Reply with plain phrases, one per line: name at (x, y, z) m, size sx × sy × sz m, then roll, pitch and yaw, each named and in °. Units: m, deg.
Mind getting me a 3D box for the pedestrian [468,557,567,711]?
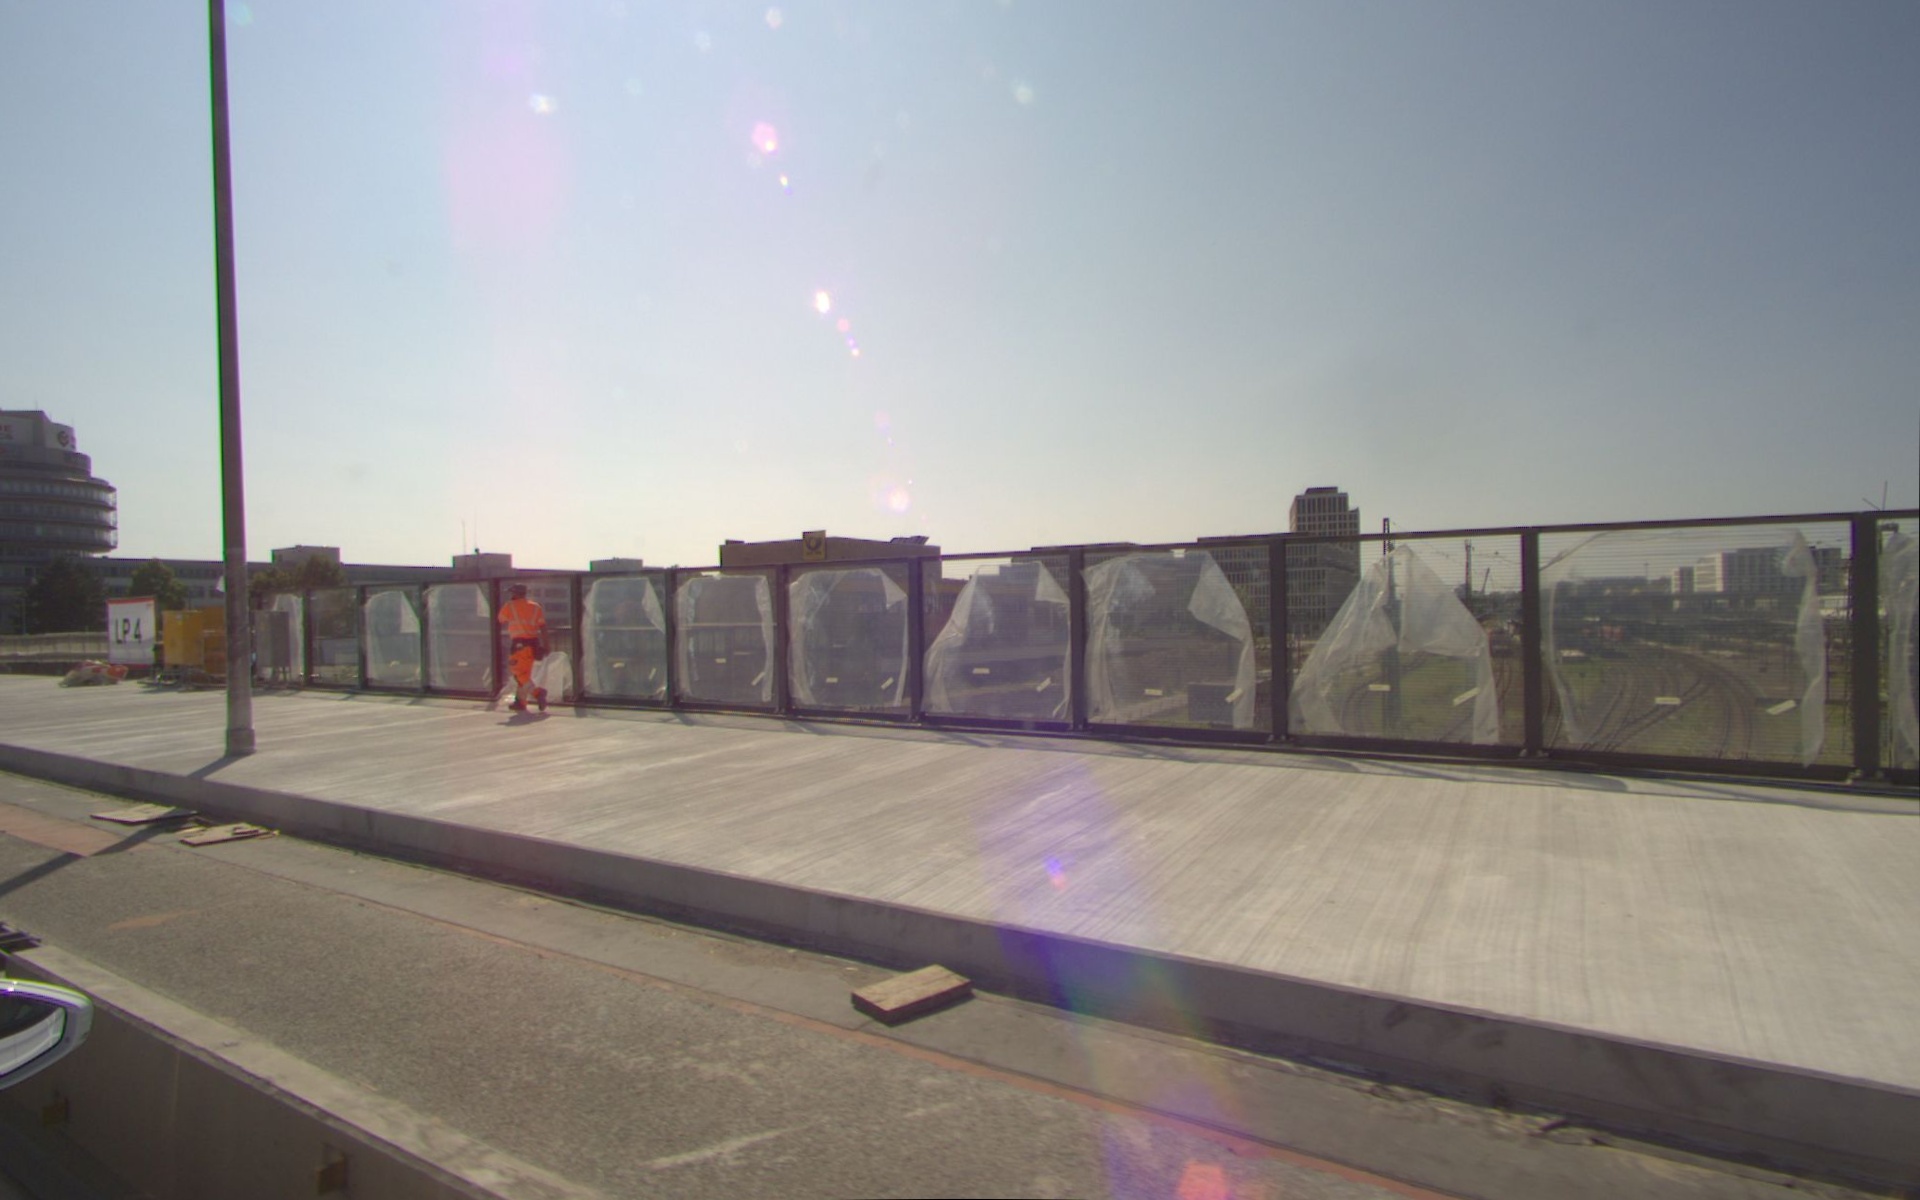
pedestrian at (-5.960, 0.438, 13.493) m, size 1.002 × 1.991 × 0.729 m, roll -1°, pitch 1°, yaw 33°
